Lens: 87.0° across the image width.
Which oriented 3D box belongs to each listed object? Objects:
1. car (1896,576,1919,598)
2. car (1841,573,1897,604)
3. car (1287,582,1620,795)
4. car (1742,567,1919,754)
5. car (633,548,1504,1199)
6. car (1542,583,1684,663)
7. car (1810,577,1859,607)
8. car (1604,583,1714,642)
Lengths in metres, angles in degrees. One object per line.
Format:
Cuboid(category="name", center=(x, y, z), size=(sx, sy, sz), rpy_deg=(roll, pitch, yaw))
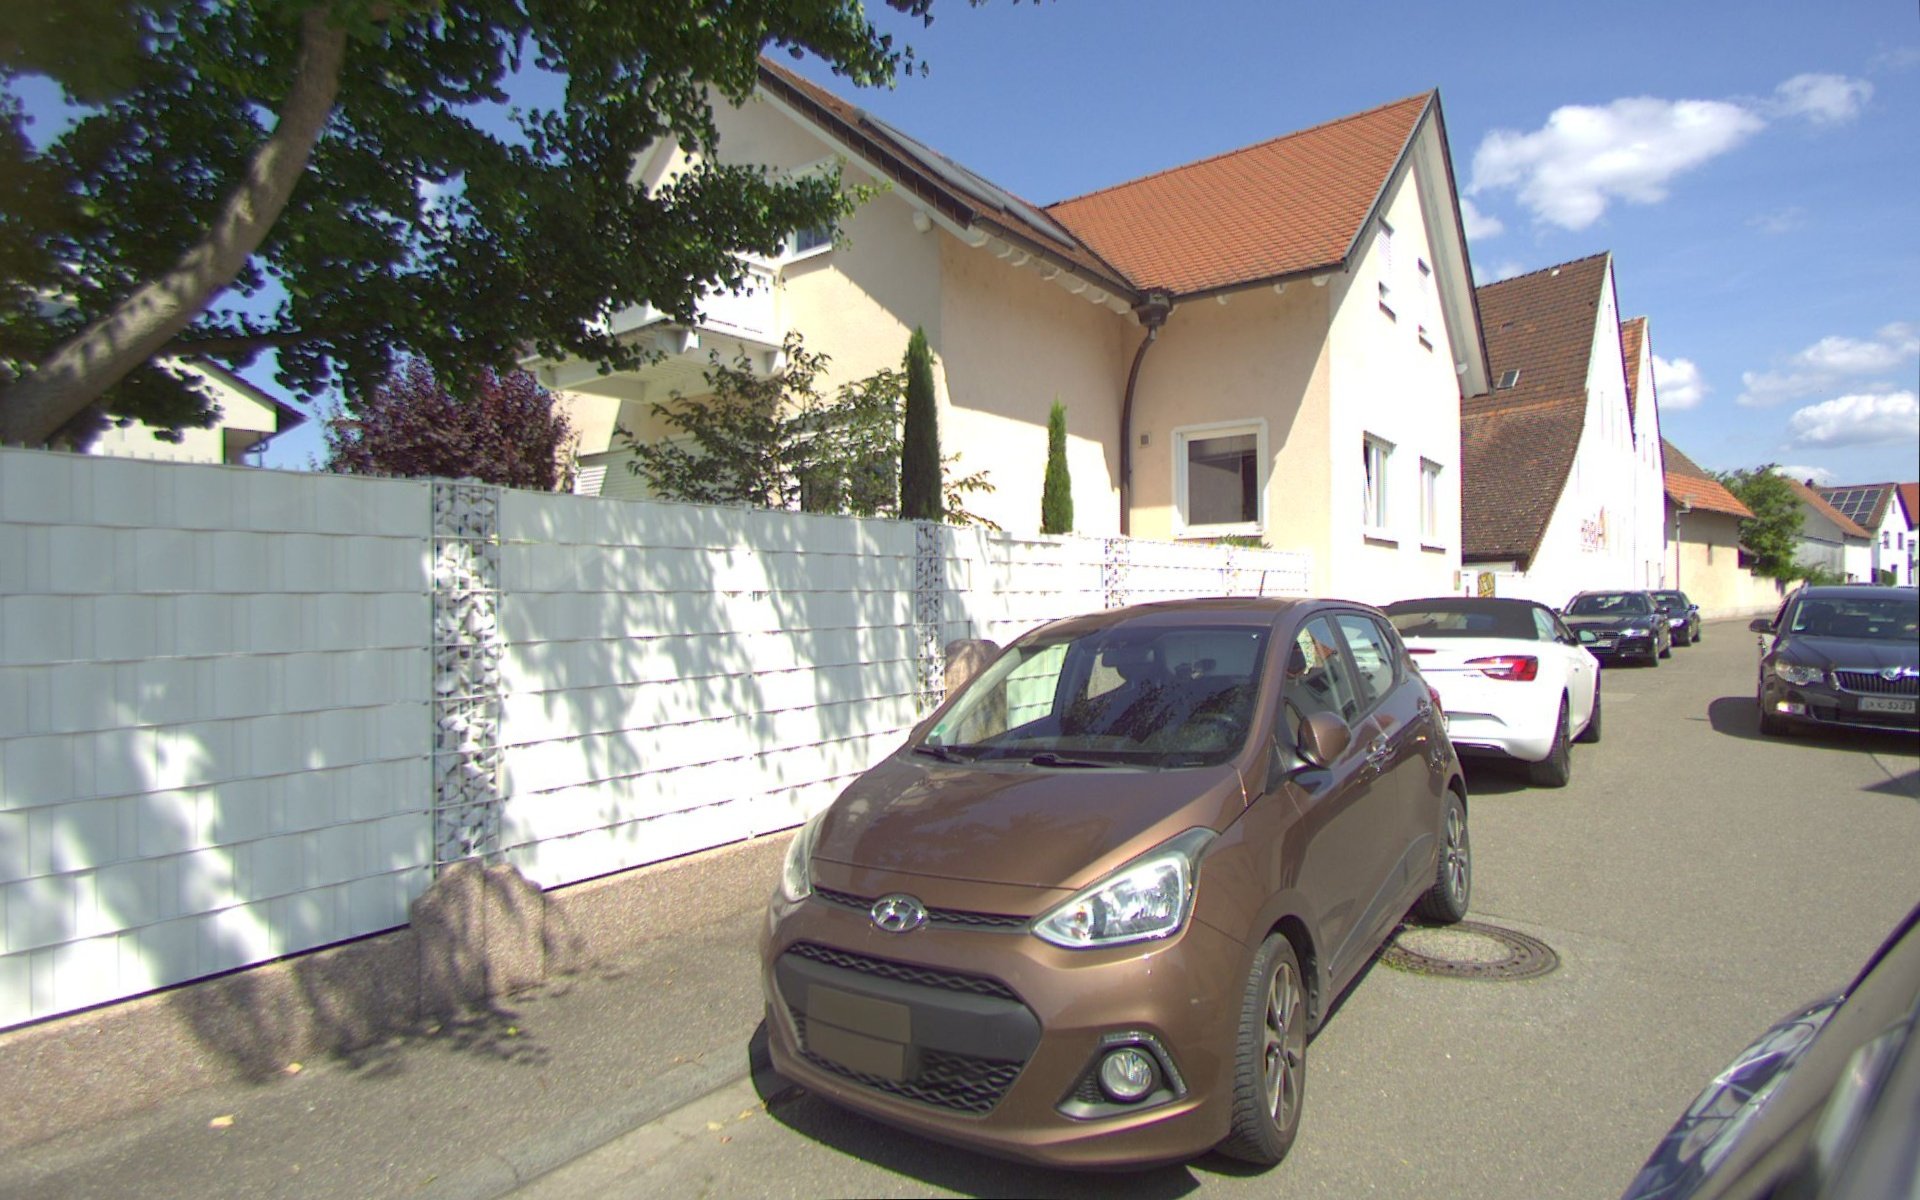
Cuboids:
Cuboid(category="car", center=(67.569, -0.957, 71.307), size=(3.968, 1.520, 1.783), rpy_deg=(-2, -2, -40))
Cuboid(category="car", center=(52.294, -0.664, 58.198), size=(3.929, 1.630, 1.783), rpy_deg=(-2, -2, -40))
Cuboid(category="car", center=(4.805, 0.622, 9.423), size=(1.890, 1.447, 4.675), rpy_deg=(-4, -1, 37))
Cuboid(category="car", center=(9.296, 0.488, 10.378), size=(1.775, 1.555, 4.650), rpy_deg=(1, 1, 35))
Cuboid(category="car", center=(0.898, 0.688, 4.160), size=(1.707, 1.552, 3.982), rpy_deg=(-5, -2, 37))
Cuboid(category="car", center=(13.273, 0.388, 20.444), size=(1.892, 1.382, 4.670), rpy_deg=(-1, 0, 39))
Cuboid(category="car", center=(45.398, -0.447, 52.501), size=(1.780, 1.498, 3.938), rpy_deg=(0, 1, 43))
Cuboid(category="car", center=(18.443, 0.274, 26.608), size=(1.894, 1.382, 4.349), rpy_deg=(-1, 0, 41))
